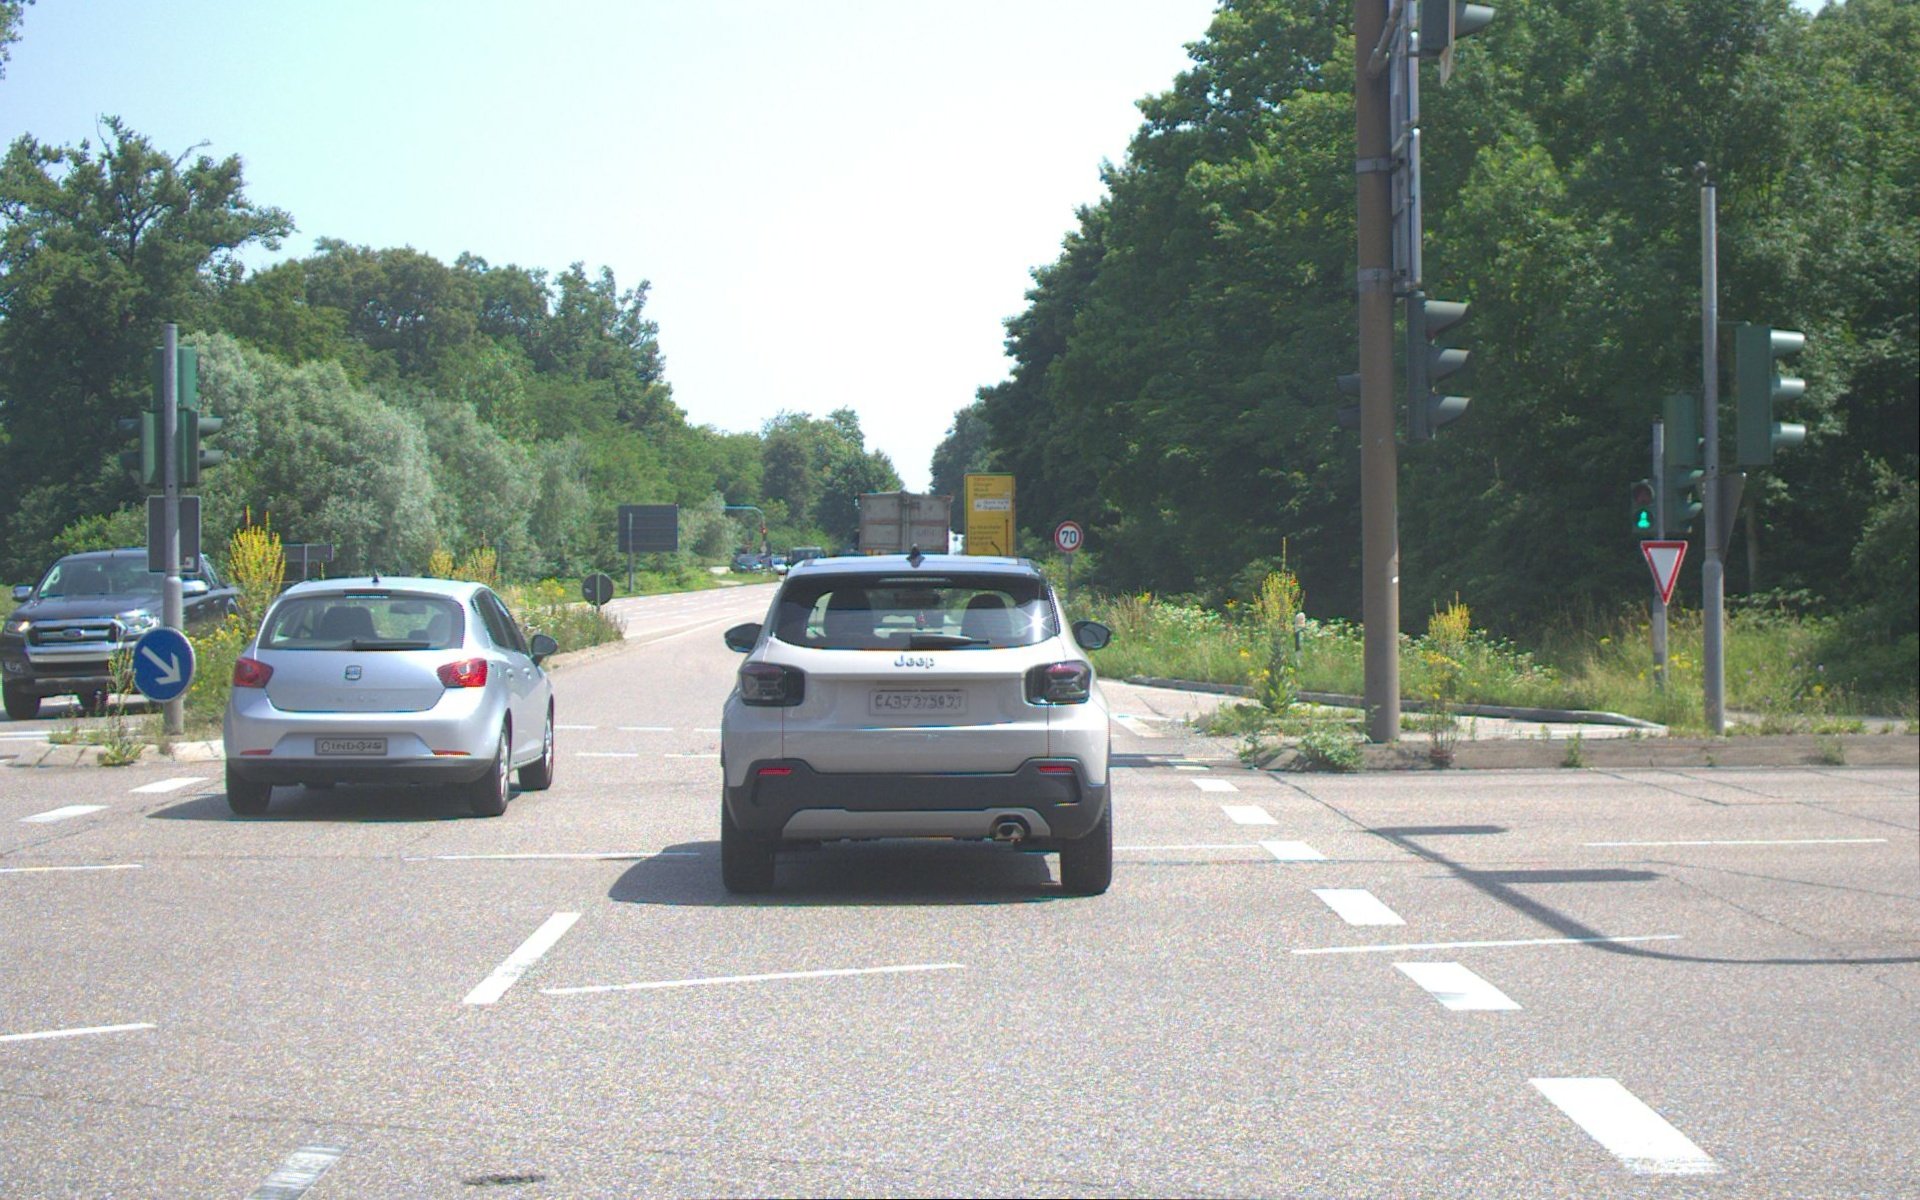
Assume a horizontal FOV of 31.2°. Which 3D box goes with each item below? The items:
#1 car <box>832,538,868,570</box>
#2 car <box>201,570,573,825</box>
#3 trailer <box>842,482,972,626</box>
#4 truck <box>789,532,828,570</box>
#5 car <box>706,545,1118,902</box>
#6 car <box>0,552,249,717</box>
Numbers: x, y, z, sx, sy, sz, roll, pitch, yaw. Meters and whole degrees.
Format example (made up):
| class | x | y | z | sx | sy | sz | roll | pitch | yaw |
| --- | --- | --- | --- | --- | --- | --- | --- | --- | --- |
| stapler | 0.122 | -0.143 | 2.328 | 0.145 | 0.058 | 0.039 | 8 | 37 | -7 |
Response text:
| class | x | y | z | sx | sy | sz | roll | pitch | yaw |
| --- | --- | --- | --- | --- | --- | --- | --- | --- | --- |
| car | -7.193 | -3.023 | 224.839 | 1.994 | 2.007 | 4.553 | -1 | 1 | 2 |
| car | -3.510 | 0.544 | 21.667 | 1.666 | 1.425 | 3.828 | 1 | 1 | 0 |
| trailer | -1.465 | -1.315 | 101.949 | 3.383 | 3.975 | 10.803 | 1 | 0 | 1 |
| truck | -11.182 | -3.648 | 253.462 | 2.454 | 2.647 | 6.491 | -3 | 1 | 0 |
| car | -0.195 | 0.508 | 16.803 | 1.767 | 1.529 | 4.000 | 0 | 1 | 0 |
| car | -9.516 | 0.333 | 38.317 | 1.993 | 1.672 | 5.365 | -2 | 1 | 0 |
